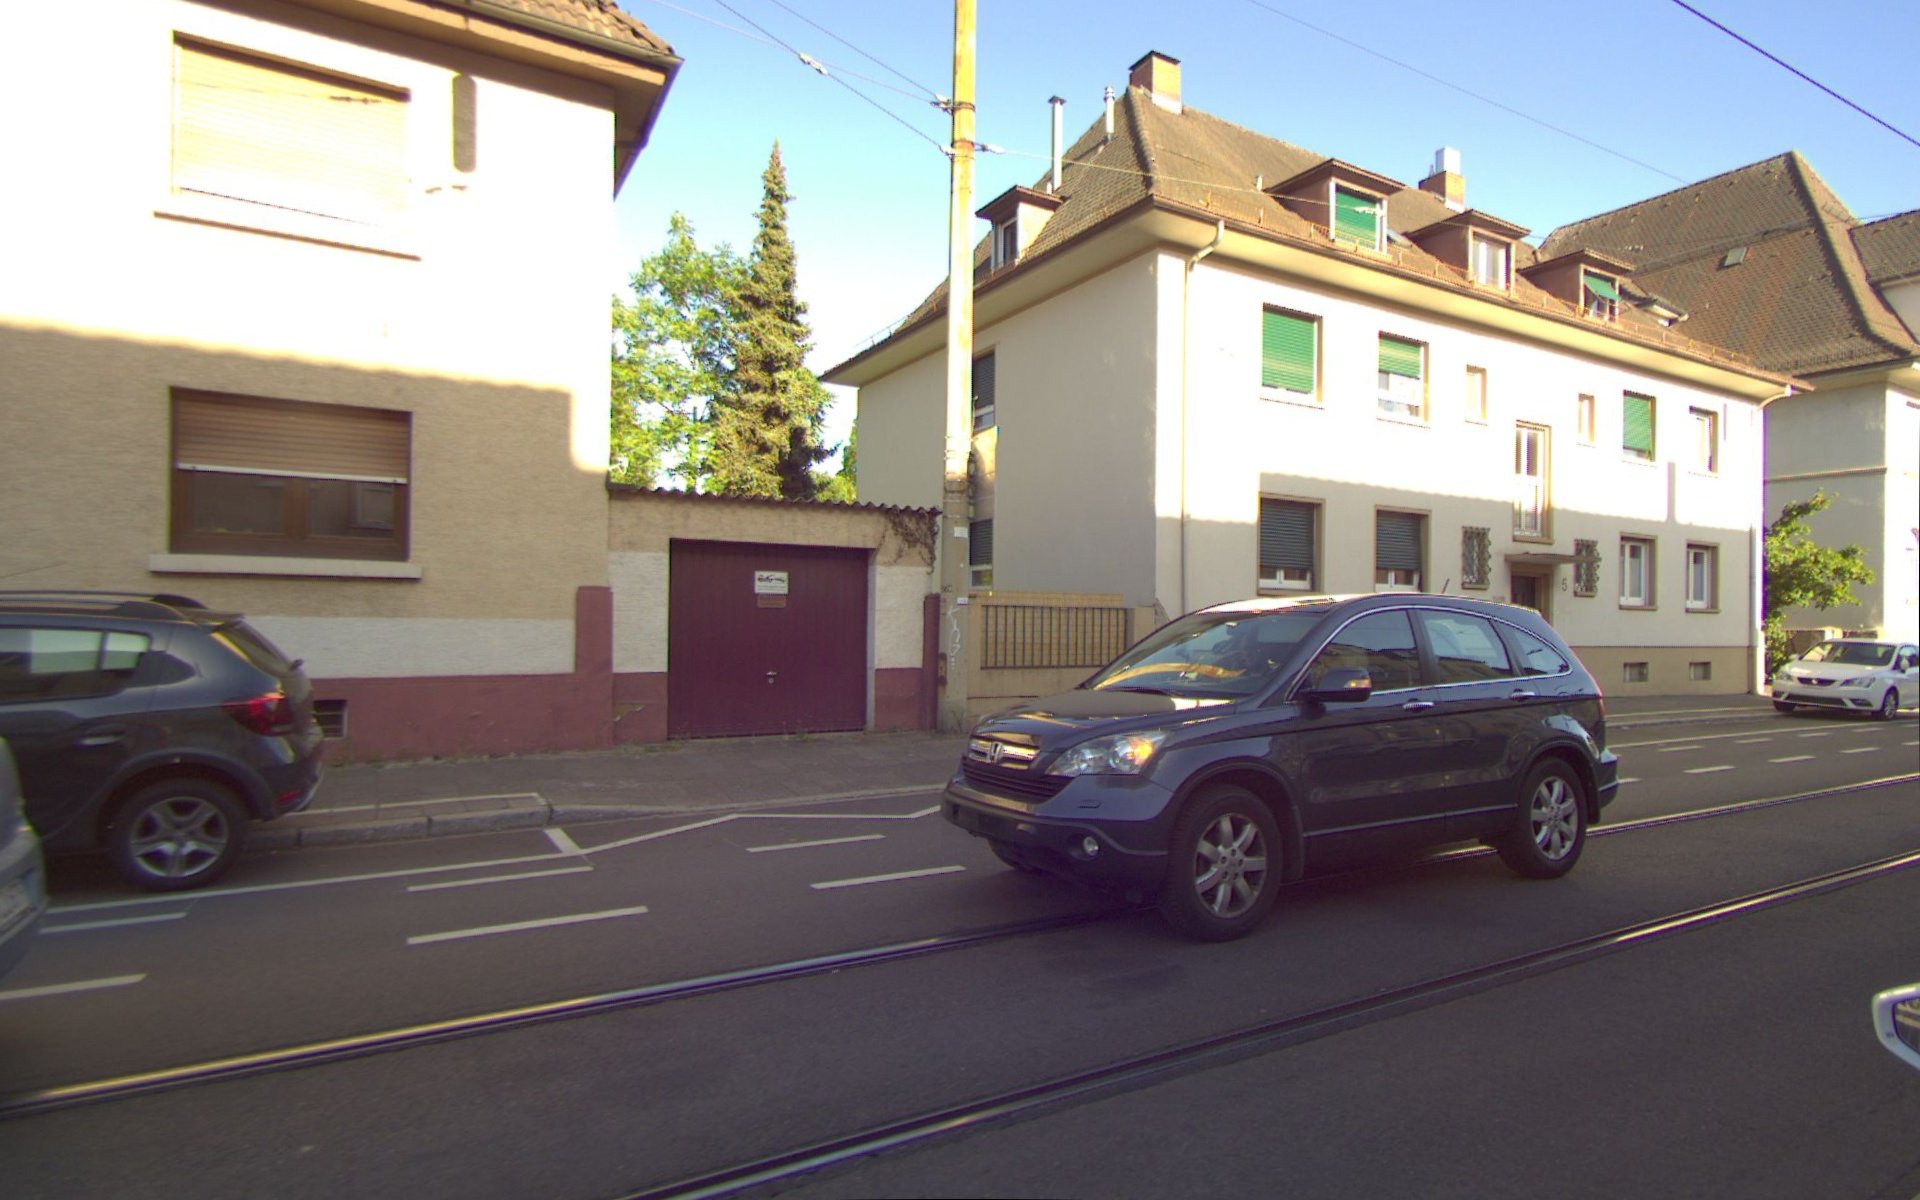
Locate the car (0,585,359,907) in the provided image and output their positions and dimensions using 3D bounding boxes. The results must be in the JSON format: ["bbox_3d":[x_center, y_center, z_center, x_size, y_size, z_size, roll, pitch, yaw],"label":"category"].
[{"bbox_3d":[-5.665,0.762,5.639,3.876,1.649,1.607,2,-2,-31],"label":"car"}]

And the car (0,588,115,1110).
[{"bbox_3d":[-4.620,0.671,2.143,4.027,1.480,1.610,2,-2,-30],"label":"car"}]

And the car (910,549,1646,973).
[{"bbox_3d":[2.001,0.734,5.938,4.312,1.727,1.696,2,-2,-30],"label":"car"}]

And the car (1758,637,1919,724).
[{"bbox_3d":[16.868,1.447,18.845,3.968,1.476,1.624,2,-2,-30],"label":"car"}]

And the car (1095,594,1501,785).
[{"bbox_3d":[3.796,0.898,11.052,4.503,1.727,1.753,2,-2,-31],"label":"car"}]
